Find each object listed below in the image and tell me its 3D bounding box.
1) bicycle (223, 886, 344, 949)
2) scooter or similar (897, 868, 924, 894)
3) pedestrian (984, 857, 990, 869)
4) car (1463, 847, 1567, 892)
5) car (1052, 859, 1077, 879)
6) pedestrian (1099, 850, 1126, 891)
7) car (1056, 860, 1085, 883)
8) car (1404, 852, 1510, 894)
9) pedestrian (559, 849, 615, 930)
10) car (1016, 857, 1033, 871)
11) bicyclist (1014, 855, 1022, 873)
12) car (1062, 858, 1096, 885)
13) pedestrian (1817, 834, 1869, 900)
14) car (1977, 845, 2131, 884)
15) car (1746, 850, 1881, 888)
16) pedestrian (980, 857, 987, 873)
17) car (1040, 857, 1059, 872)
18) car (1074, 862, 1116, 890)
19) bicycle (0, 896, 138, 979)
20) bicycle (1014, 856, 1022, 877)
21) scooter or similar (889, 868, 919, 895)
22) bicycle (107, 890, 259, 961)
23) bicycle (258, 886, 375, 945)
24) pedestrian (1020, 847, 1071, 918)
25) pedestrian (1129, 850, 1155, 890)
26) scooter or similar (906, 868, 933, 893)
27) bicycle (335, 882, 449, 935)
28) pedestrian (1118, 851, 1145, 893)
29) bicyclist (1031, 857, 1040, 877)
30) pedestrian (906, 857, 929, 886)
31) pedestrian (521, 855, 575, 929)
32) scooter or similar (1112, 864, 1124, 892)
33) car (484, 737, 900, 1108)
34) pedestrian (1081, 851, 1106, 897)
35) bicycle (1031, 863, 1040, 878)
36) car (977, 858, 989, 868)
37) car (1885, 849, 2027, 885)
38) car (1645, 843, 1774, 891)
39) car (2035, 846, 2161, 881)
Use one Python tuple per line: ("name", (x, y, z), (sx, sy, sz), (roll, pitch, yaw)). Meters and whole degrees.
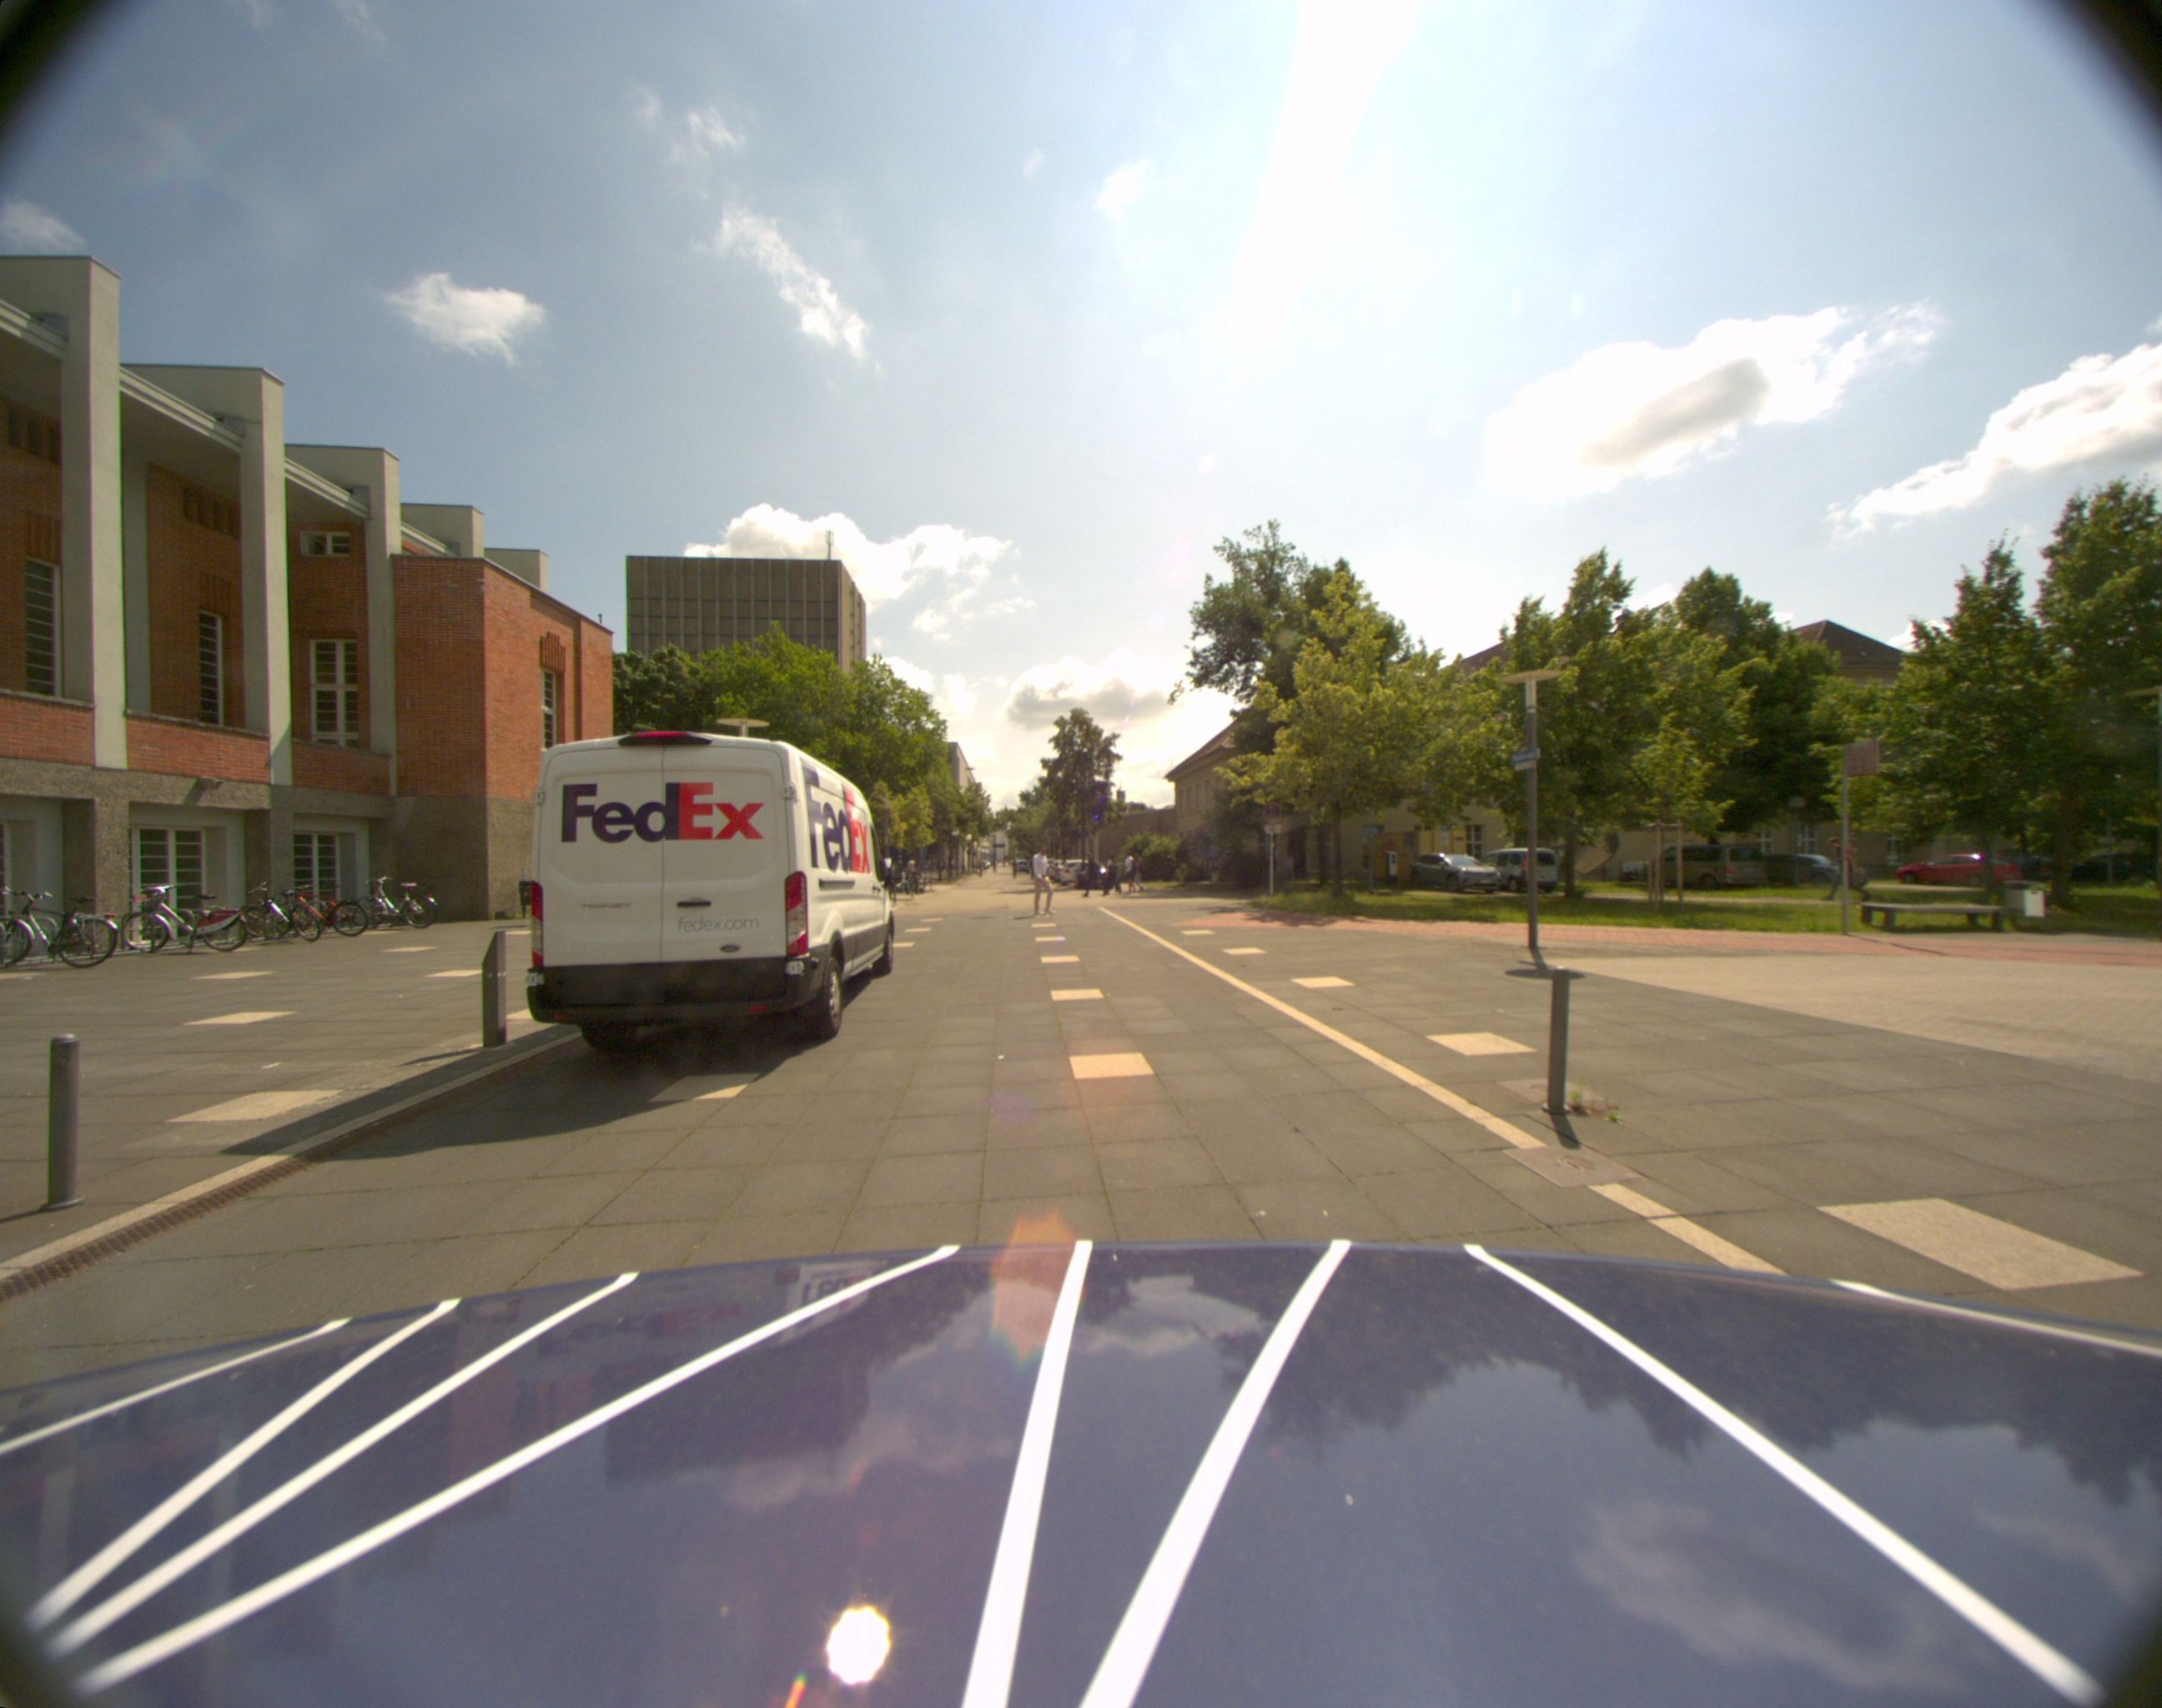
("bicycle", (-14.895, 1.174, 14.213), (1.655, 1.103, 0.435), (0, 0, -7))
("scooter or similar", (-8.172, 1.289, 36.437), (1.140, 1.236, 0.577), (0, 0, 30))
("pedestrian", (-12.490, 1.173, 100.695), (0.587, 1.672, 0.536), (0, 0, -43))
("car", (18.523, 0.602, 32.689), (1.812, 1.775, 4.121), (0, 1, -6))
("car", (-1.318, 1.119, 58.107), (1.718, 1.424, 3.998), (-1, 0, -4))
("pedestrian", (1.334, 0.691, 31.998), (0.623, 1.706, 1.002), (0, 0, -39))
("car", (-0.743, 1.112, 49.847), (1.649, 1.368, 3.998), (-1, 0, -4))
("car", (15.977, 0.743, 32.580), (1.900, 1.572, 4.646), (0, 1, -6))
("pedestrian", (-11.810, 0.815, 18.207), (0.666, 1.879, 1.109), (0, 1, -6))
("car", (-6.674, 1.190, 89.582), (1.933, 1.624, 4.370), (-1, 0, -4))
("bicyclist", (-5.074, 0.814, 61.278), (0.588, 1.444, 1.232), (-1, 0, -6))
("car", (-0.154, 0.985, 43.640), (1.635, 1.422, 3.631), (-1, 0, -5))
("pedestrian", (21.285, 0.347, 21.233), (0.870, 1.778, 0.637), (2, 6, 36))
("car", (45.850, 0.442, 35.965), (1.812, 1.657, 4.121), (0, 1, -6))
("car", (32.724, 0.611, 34.124), (1.812, 1.533, 4.121), (0, 1, -6))
("pedestrian", (-8.778, 0.985, 68.430), (0.585, 1.433, 0.638), (0, 0, -4))
("car", (-3.569, 1.192, 85.103), (1.933, 1.624, 4.370), (-1, 0, -4))
("car", (0.633, 1.062, 37.543), (1.701, 1.287, 3.761), (0, 0, -4))
("bicycle", (-14.715, 1.177, 10.777), (1.917, 1.103, 0.435), (0, 0, -7))
("bicycle", (-5.068, 1.013, 61.278), (0.588, 1.670, 1.758), (-1, 0, -6))
("scooter or similar", (-8.284, 1.267, 35.590), (1.353, 1.223, 0.577), (0, 0, 30))
("bicycle", (-14.846, 1.167, 12.585), (1.802, 1.103, 0.435), (0, 0, -7))
("bicycle", (-14.967, 1.190, 14.906), (1.699, 1.103, 0.435), (0, 0, -7))
("pedestrian", (-0.945, 0.735, 20.238), (1.022, 1.837, 0.918), (1, 0, 26))
("pedestrian", (2.657, 0.700, 32.929), (0.970, 1.706, 0.559), (0, 1, 24))
("scooter or similar", (-7.894, 1.289, 37.122), (1.261, 1.225, 0.577), (0, 0, 30))
("bicycle", (-15.130, 1.182, 16.705), (1.936, 1.103, 0.456), (0, 0, -7))
("pedestrian", (2.140, 0.757, 32.308), (0.898, 1.776, 0.728), (0, 1, 34))
("bicyclist", (-3.703, 1.015, 61.671), (0.630, 1.596, 1.328), (-1, 0, -7))
("pedestrian", (-10.037, 1.070, 46.747), (0.985, 1.776, 1.092), (0, 0, -41))
("pedestrian", (-12.687, 0.878, 18.103), (0.586, 1.697, 1.001), (0, 1, -3))
("scooter or similar", (1.667, 1.067, 33.937), (0.471, 1.209, 1.204), (0, 0, 0))
("car", (-3.367, 0.468, 8.202), (2.065, 2.528, 5.846), (-1, 0, -7))
("pedestrian", (0.505, 0.795, 29.952), (0.871, 1.776, 0.569), (0, 0, 15))
("bicycle", (-3.713, 1.333, 61.700), (0.626, 1.134, 1.811), (-1, 0, -7))
("car", (-16.874, 1.586, 131.403), (2.000, 1.647, 3.997), (0, 0, -7))
("car", (40.992, 0.569, 35.770), (1.812, 1.533, 4.123), (0, 1, -2))
("car", (27.597, 0.486, 33.605), (1.811, 1.949, 4.525), (0, 1, -2))
("car", (49.463, 0.409, 36.539), (1.812, 1.533, 4.121), (0, 1, -6))
